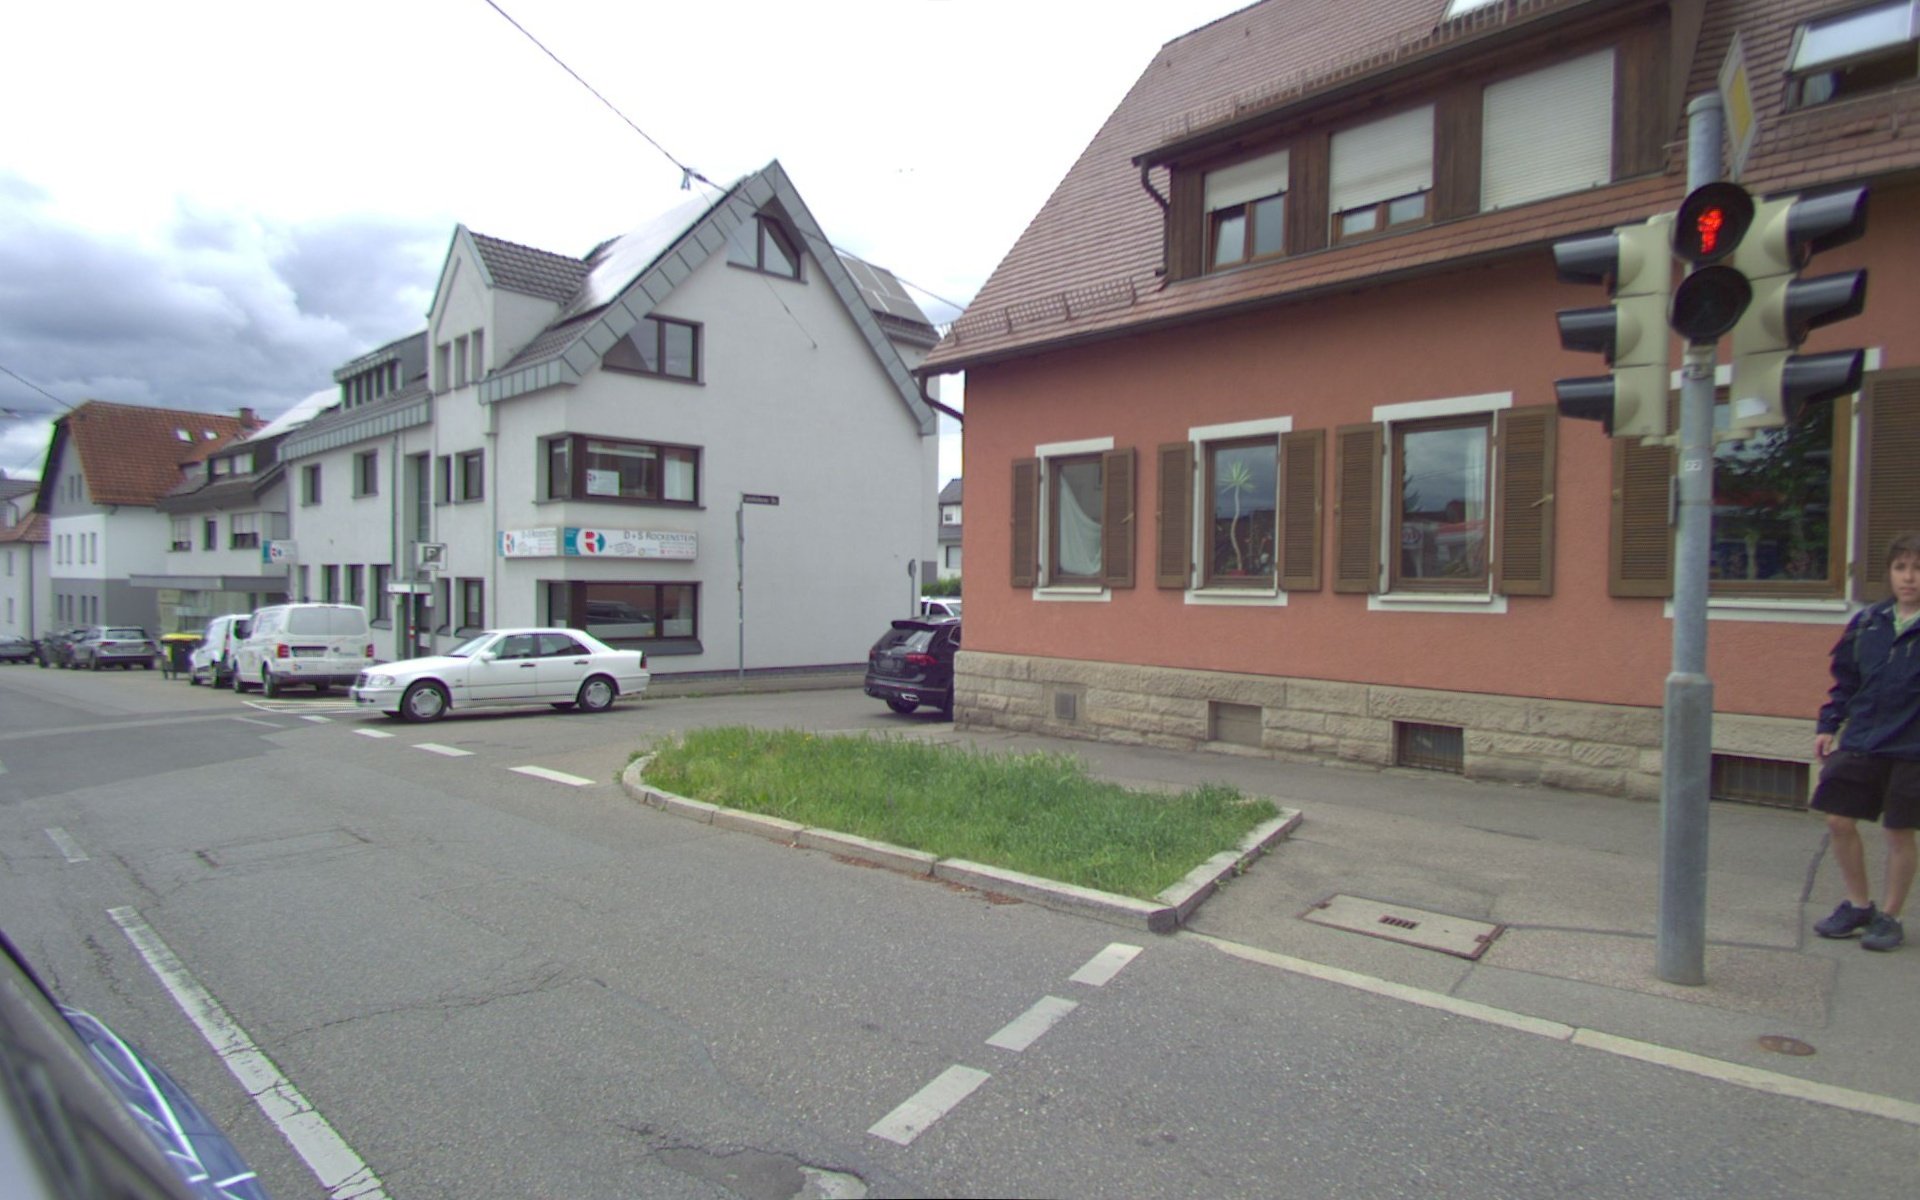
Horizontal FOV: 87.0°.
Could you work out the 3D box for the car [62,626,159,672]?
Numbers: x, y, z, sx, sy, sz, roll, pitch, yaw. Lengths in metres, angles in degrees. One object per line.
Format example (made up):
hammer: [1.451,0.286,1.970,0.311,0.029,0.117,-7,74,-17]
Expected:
car: [-32.081,1.838,38.196,4.400,1.645,1.821,-2,-2,36]

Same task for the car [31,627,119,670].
car: [-36.432,1.979,41.624,4.400,1.645,1.821,-2,-2,36]

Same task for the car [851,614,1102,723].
car: [0.350,1.100,17.025,3.994,1.602,1.807,3,-2,-39]

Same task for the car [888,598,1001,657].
car: [-0.569,0.881,34.446,1.869,1.864,3.913,-1,1,-38]

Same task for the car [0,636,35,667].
car: [-47.380,2.525,49.850,4.458,1.456,1.821,-2,-3,36]

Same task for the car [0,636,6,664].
car: [-52.911,2.676,54.168,3.989,1.456,1.822,-2,-3,34]

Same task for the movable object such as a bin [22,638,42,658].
movable object such as a bin: [-53.363,2.752,58.224,0.757,1.053,0.671,-2,1,36]

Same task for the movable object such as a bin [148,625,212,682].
movable object such as a bin: [-23.515,1.603,30.500,1.560,1.645,1.130,-2,-2,36]

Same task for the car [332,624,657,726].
car: [-7.571,1.140,16.754,4.498,1.456,2.002,1,-3,-42]

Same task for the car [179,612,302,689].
car: [-18.816,1.300,26.408,4.297,1.846,1.715,-2,-3,42]

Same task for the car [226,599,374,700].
car: [-14.803,1.081,22.593,4.765,2.021,1.791,-2,-3,45]

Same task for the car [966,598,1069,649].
car: [2.465,0.970,43.542,3.988,1.935,1.809,-2,1,-23]

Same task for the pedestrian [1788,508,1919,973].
pedestrian: [4.077,0.536,4.130,0.877,1.798,0.805,-1,0,-32]
